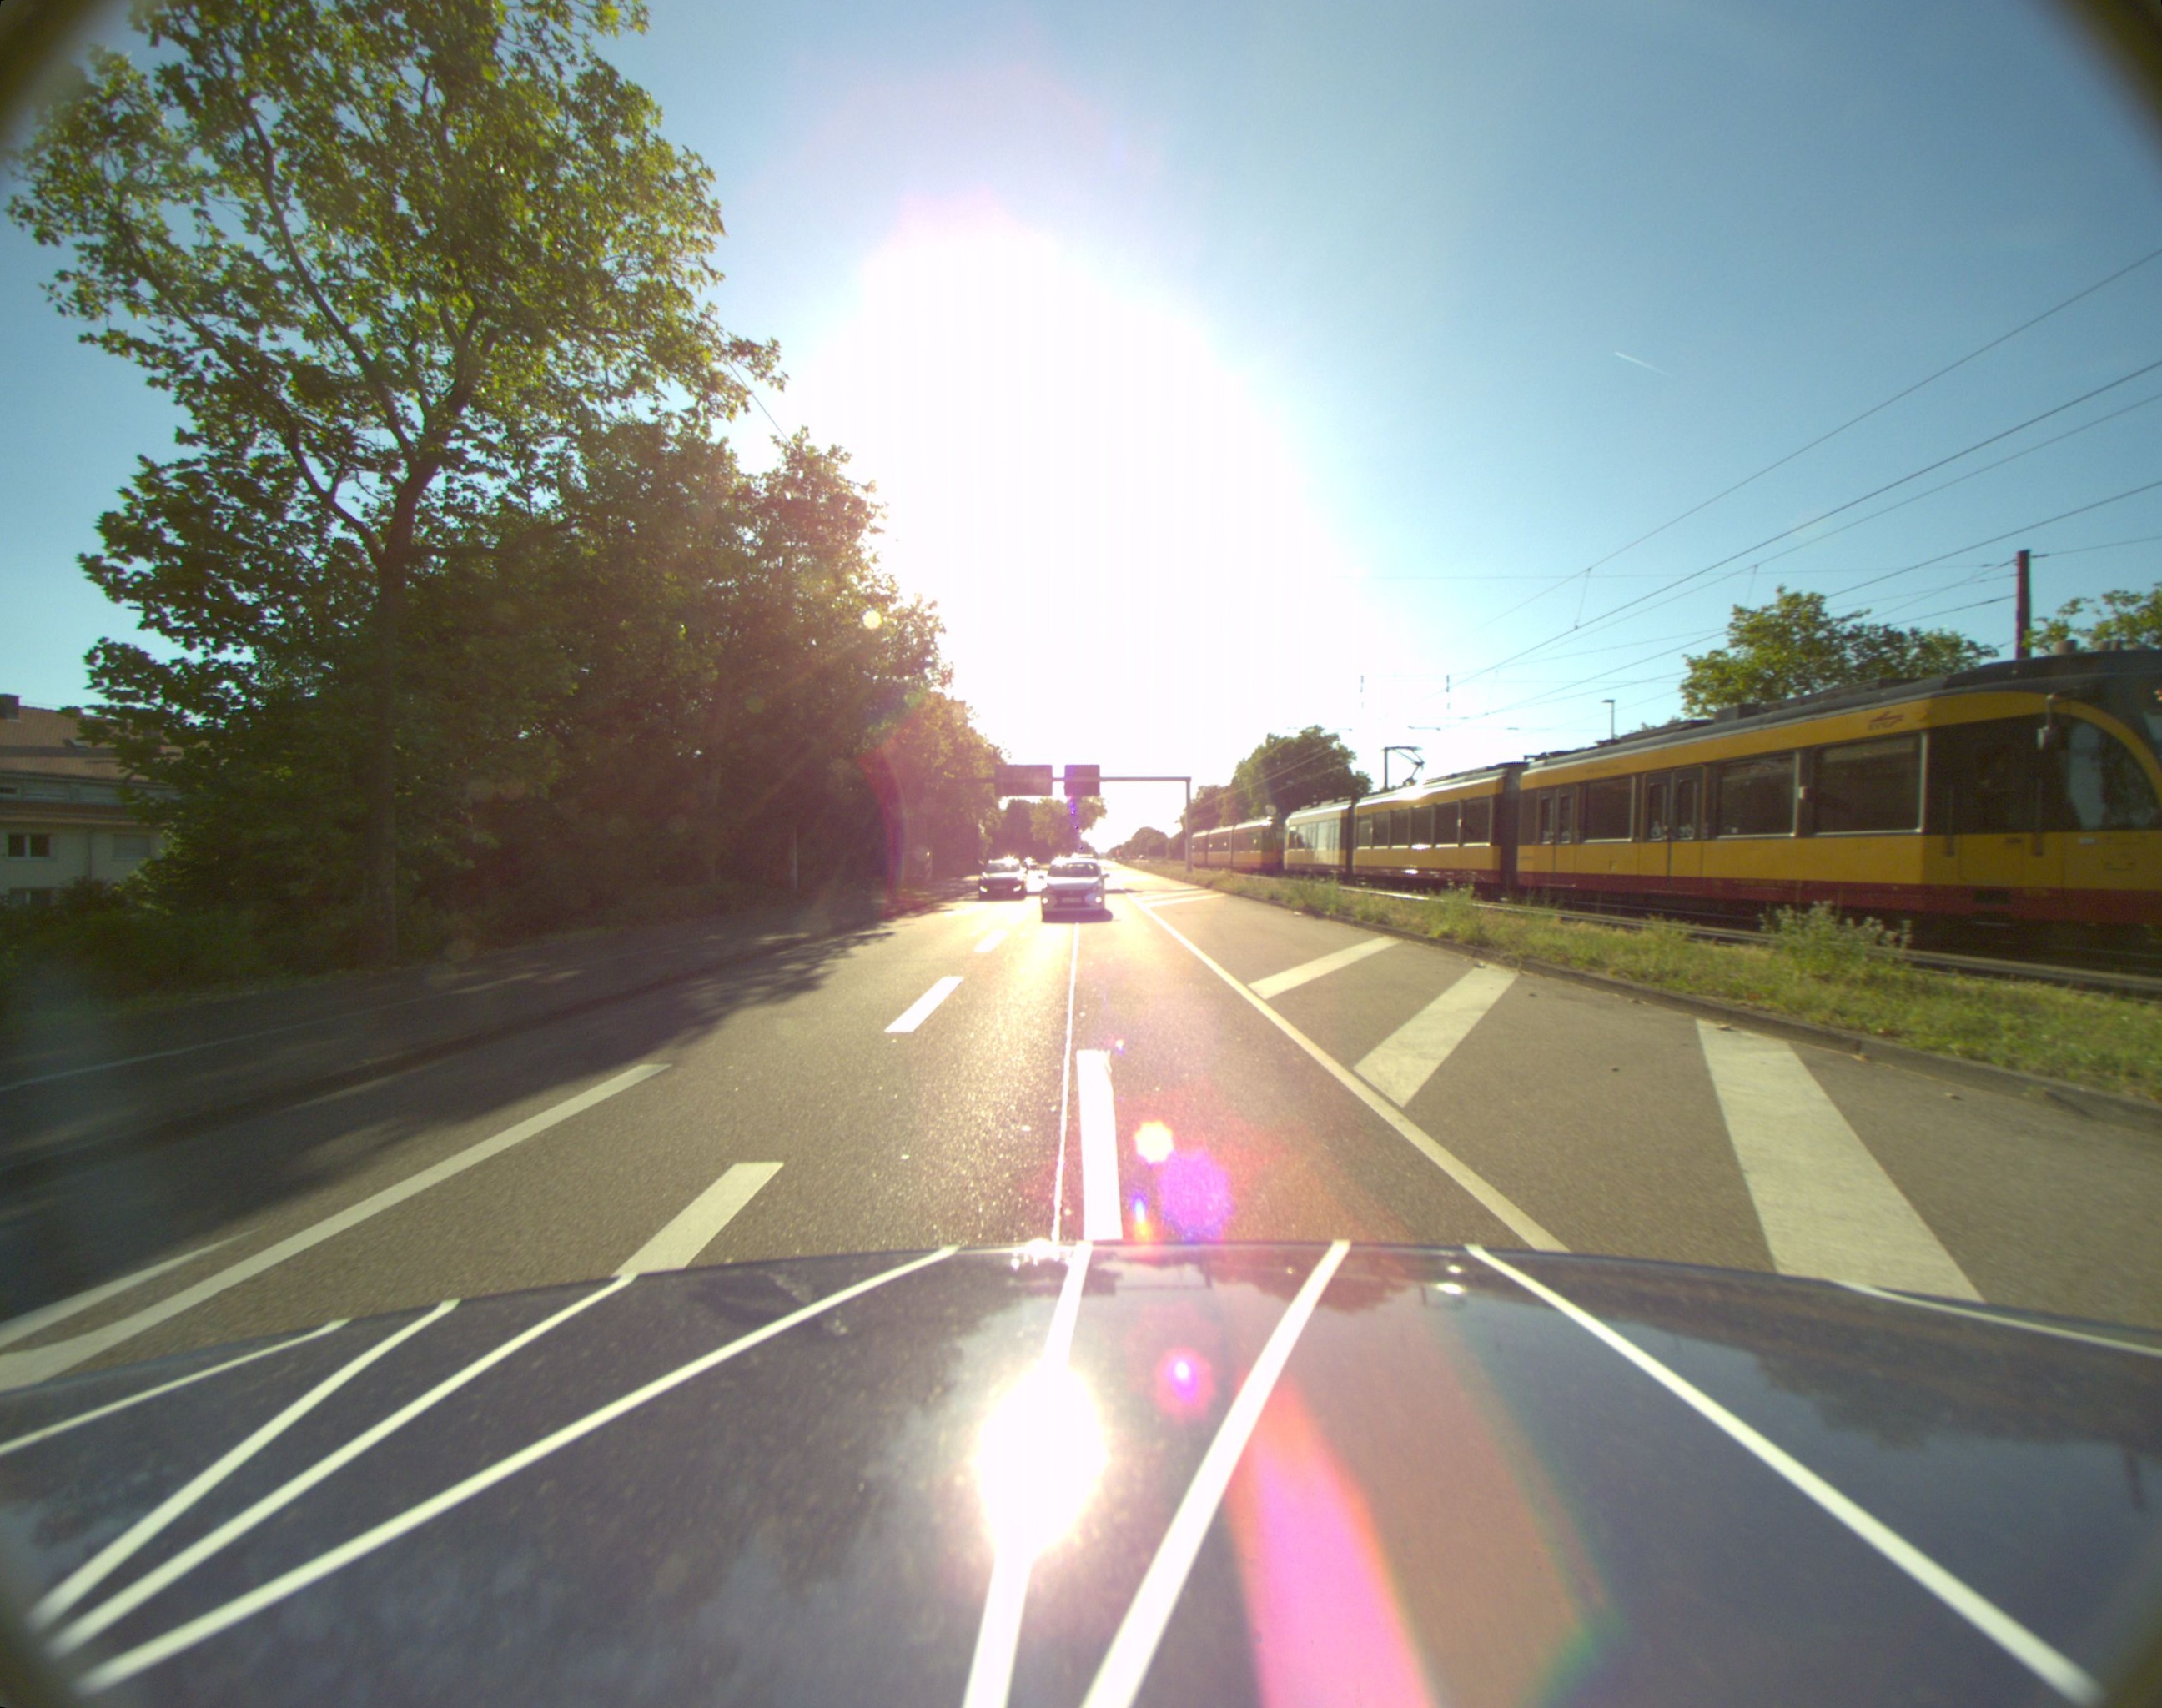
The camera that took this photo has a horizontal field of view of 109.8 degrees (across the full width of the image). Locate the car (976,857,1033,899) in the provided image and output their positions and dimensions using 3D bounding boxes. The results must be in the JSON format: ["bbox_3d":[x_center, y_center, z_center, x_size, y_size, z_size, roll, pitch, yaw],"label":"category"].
[{"bbox_3d":[-3.018,0.921,30.677,1.786,1.530,4.000,-1,0,1],"label":"car"}]

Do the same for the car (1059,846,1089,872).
[{"bbox_3d":[-0.470,0.314,49.449,1.824,1.608,3.999,-1,0,-1],"label":"car"}]

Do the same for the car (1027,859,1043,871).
[{"bbox_3d":[-5.631,1.321,93.032,1.744,1.455,3.999,0,0,-1],"label":"car"}]

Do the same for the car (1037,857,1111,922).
[{"bbox_3d":[-0.105,0.882,20.726,1.670,1.465,3.745,-3,1,3],"label":"car"}]
